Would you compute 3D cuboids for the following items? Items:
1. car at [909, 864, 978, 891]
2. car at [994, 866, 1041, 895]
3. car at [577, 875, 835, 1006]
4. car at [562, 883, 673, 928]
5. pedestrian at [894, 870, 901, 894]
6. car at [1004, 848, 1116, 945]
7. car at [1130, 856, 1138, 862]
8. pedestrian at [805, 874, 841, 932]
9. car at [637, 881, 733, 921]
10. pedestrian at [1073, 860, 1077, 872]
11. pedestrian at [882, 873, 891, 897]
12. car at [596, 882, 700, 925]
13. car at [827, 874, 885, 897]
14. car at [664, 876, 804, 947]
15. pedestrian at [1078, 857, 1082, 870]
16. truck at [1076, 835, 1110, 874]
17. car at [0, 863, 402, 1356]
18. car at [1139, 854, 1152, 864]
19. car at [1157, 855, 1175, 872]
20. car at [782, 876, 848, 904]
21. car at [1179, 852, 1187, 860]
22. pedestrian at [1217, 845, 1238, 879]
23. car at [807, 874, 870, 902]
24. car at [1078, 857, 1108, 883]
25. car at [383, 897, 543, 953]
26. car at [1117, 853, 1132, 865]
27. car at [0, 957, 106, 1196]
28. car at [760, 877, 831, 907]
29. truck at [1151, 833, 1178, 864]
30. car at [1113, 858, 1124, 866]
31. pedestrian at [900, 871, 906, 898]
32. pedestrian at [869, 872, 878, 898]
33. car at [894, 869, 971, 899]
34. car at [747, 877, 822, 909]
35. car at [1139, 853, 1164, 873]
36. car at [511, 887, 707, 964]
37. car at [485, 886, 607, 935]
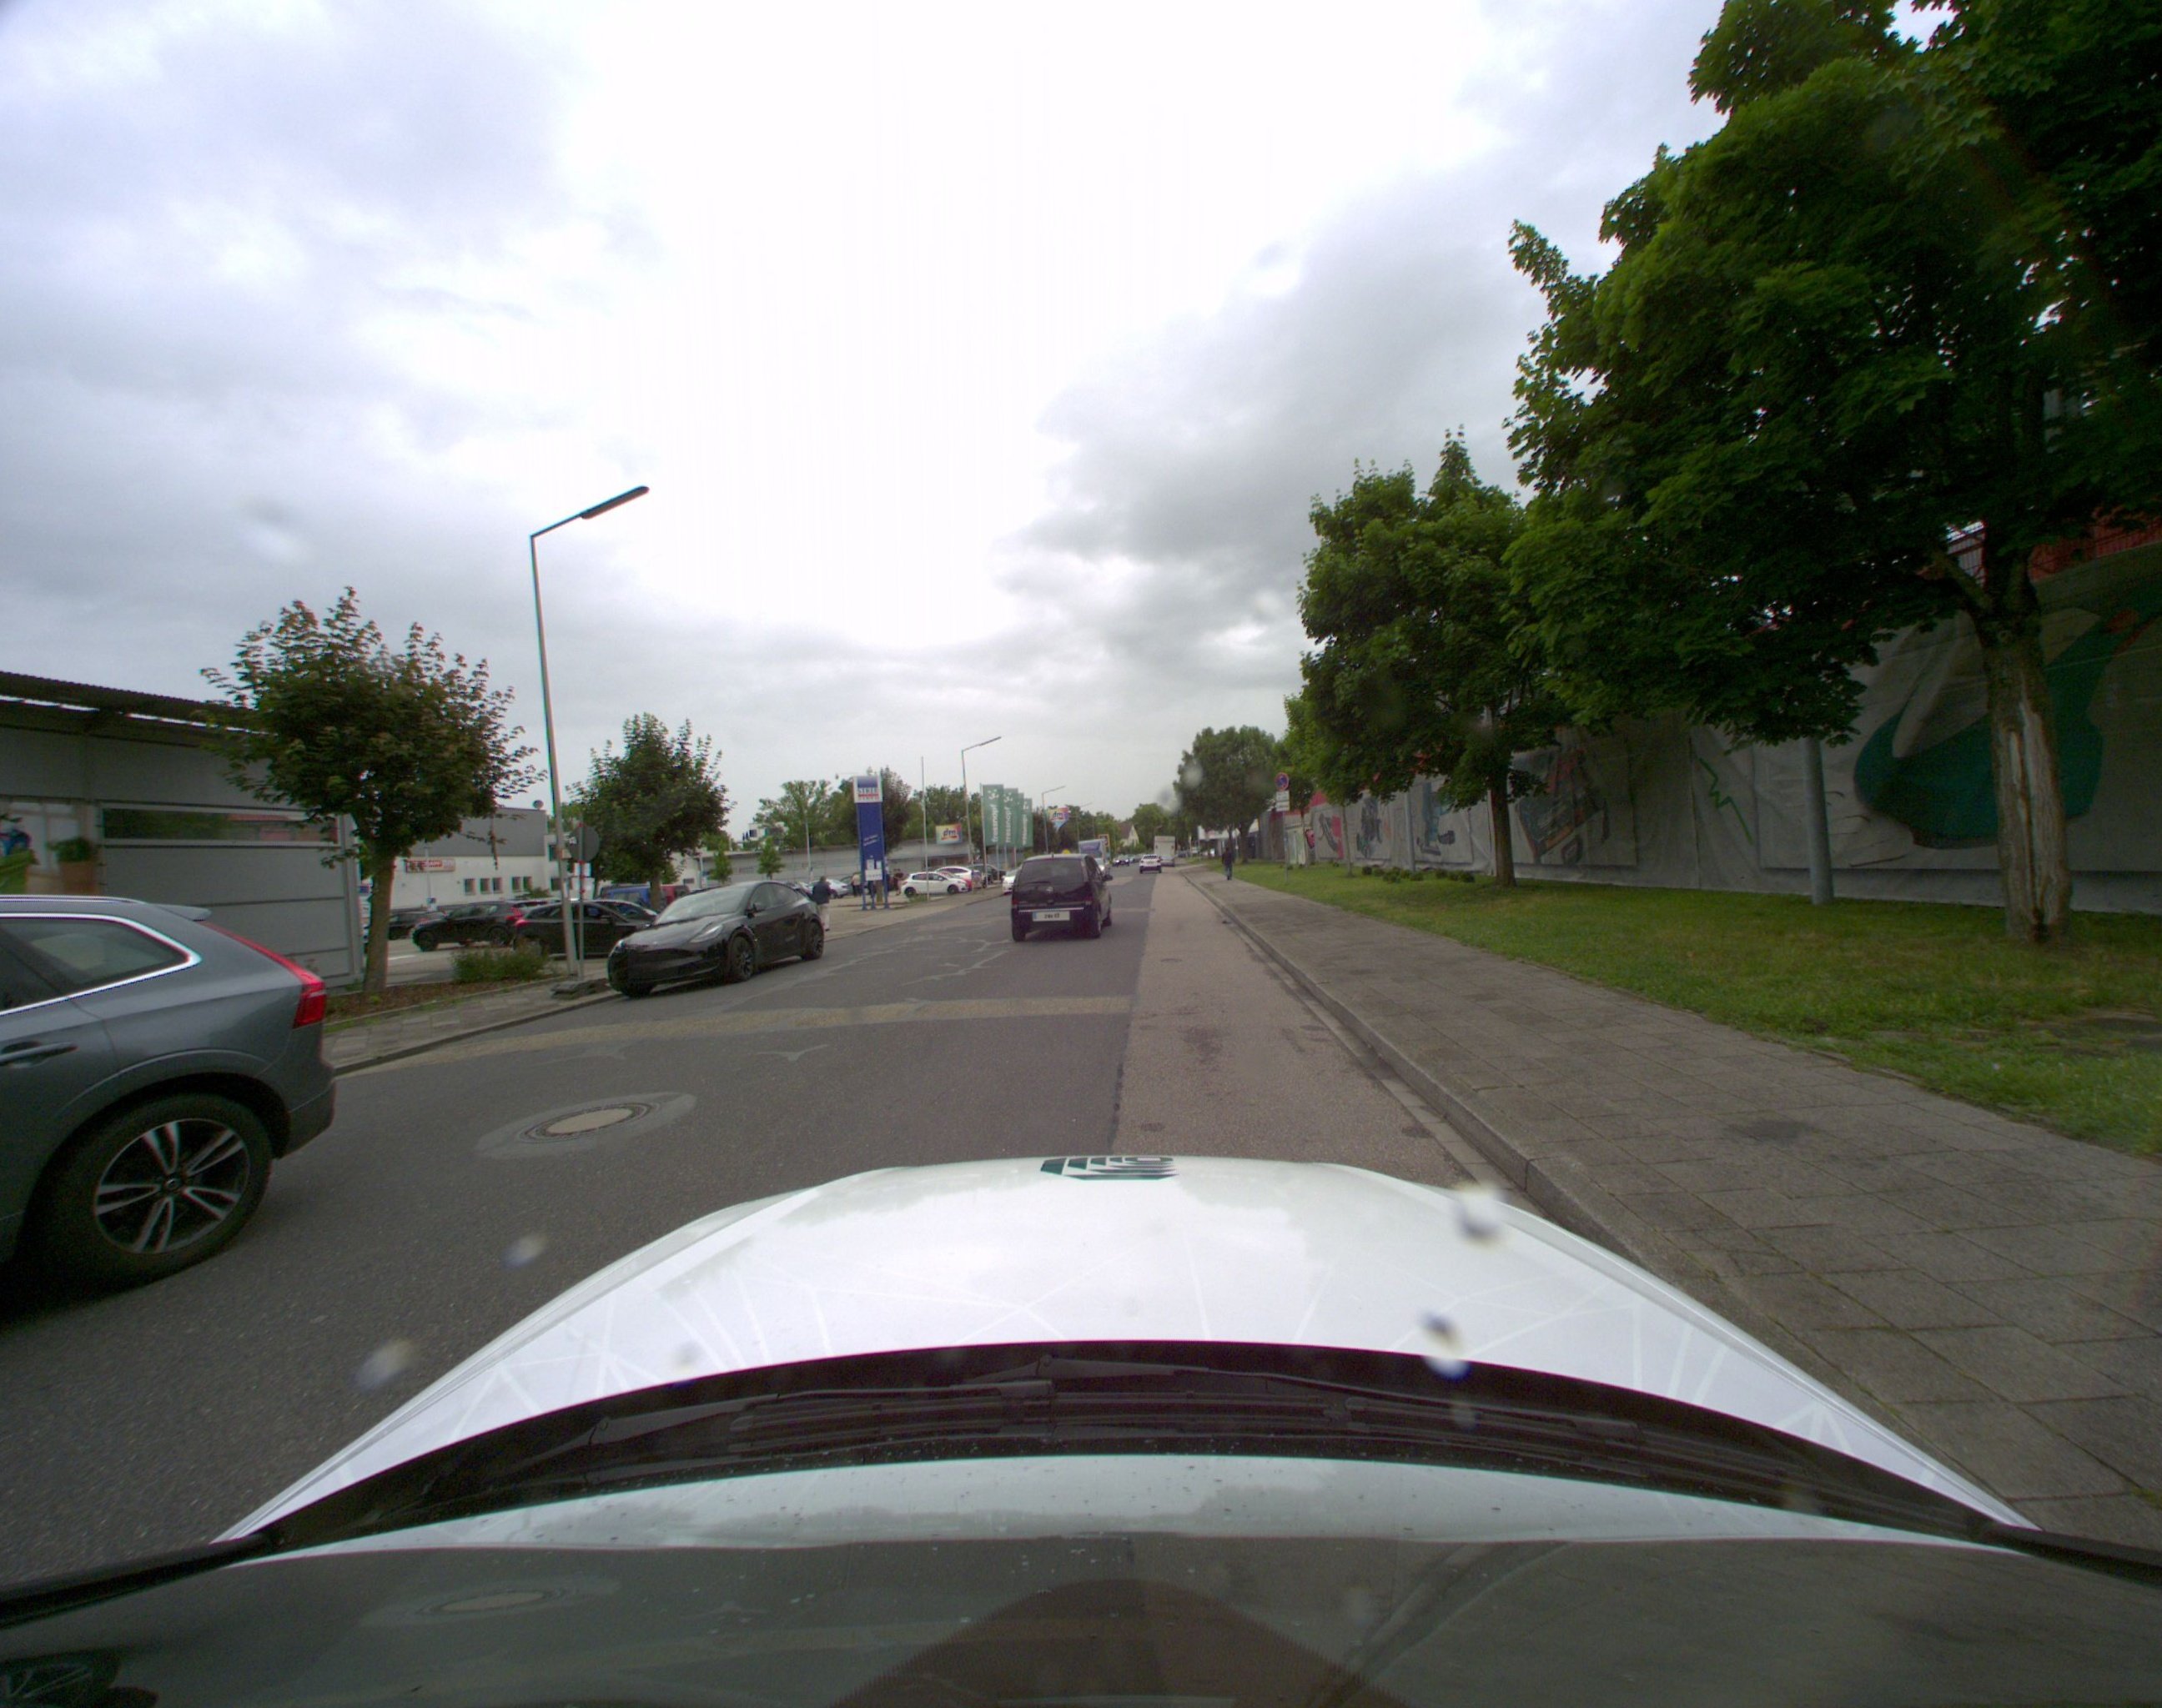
[{"bbox_3d":[-9.093,1.563,54.065,4.122,1.463,1.898,-4,-1,0],"label":"car"},{"bbox_3d":[-3.577,1.483,46.379,1.888,1.367,4.006,-5,0,6],"label":"car"},{"bbox_3d":[-6.073,1.311,13.932,1.938,1.526,4.407,-8,-1,4],"label":"car"},{"bbox_3d":[-21.286,2.371,37.513,3.967,1.669,1.879,-5,-1,5],"label":"car"},{"bbox_3d":[-12.378,1.903,54.797,0.329,1.570,0.503,-3,-1,-6],"label":"pedestrian"},{"bbox_3d":[-0.305,0.766,16.580,1.672,1.632,3.765,-4,0,6],"label":"car"},{"bbox_3d":[11.265,1.075,173.981,1.534,1.365,3.434,-3,-1,6],"label":"car"},{"bbox_3d":[-7.985,1.506,25.231,0.772,1.715,0.697,-3,-1,1],"label":"pedestrian"},{"bbox_3d":[-20.566,2.417,42.412,3.967,1.669,1.879,-5,-1,5],"label":"car"},{"bbox_3d":[-0.789,1.486,101.149,0.400,1.531,0.485,-4,-1,-1],"label":"pedestrian"},{"bbox_3d":[-13.068,2.055,54.732,0.358,1.570,0.503,-4,-1,-5],"label":"pedestrian"},{"bbox_3d":[-21.181,2.409,39.931,3.967,1.669,1.879,-5,-1,5],"label":"car"},{"bbox_3d":[-17.925,2.525,65.074,3.967,1.492,1.789,-4,-1,6],"label":"car"},{"bbox_3d":[-11.908,1.940,28.132,3.919,2.013,1.760,-5,-1,-2],"label":"car"},{"bbox_3d":[-0.149,1.180,100.653,0.400,1.531,0.485,-4,-1,-1],"label":"pedestrian"},{"bbox_3d":[1.429,0.078,92.072,2.959,3.955,6.415,-6,-1,6],"label":"truck"},{"bbox_3d":[-4.837,0.979,2.122,1.923,1.684,4.503,-5,-1,7],"label":"car"},{"bbox_3d":[9.962,0.765,125.388,1.928,1.367,4.006,-5,0,5],"label":"car"},{"bbox_3d":[10.055,1.116,96.386,1.984,1.806,4.005,-3,-1,4],"label":"car"},{"bbox_3d":[-19.157,2.572,58.768,3.967,1.669,1.879,-5,-1,5],"label":"car"},{"bbox_3d":[24.953,0.468,199.638,1.877,1.683,4.261,-2,0,6],"label":"car"},{"bbox_3d":[7.244,0.386,40.436,0.914,1.635,0.854,-3,-1,7],"label":"pedestrian"},{"bbox_3d":[-18.180,2.542,61.155,3.967,1.669,1.879,-5,-1,5],"label":"car"},{"bbox_3d":[0.845,1.083,56.036,1.591,1.528,3.534,-6,-1,6],"label":"car"},{"bbox_3d":[-21.704,2.462,28.789,3.997,1.485,1.865,-4,-1,-17],"label":"car"},{"bbox_3d":[6.422,0.727,120.602,1.984,1.684,4.005,-3,-1,4],"label":"car"},{"bbox_3d":[-7.485,1.478,3.116,1.691,1.367,4.524,-9,-1,5],"label":"car"},{"bbox_3d":[-19.225,2.543,54.998,3.967,1.669,1.879,-5,-1,5],"label":"car"},{"bbox_3d":[10.692,-0.630,105.421,3.120,3.585,10.062,-3,-1,4],"label":"truck"},{"bbox_3d":[6.446,1.377,140.630,1.616,1.375,3.457,-3,-1,5],"label":"car"},{"bbox_3d":[-11.890,2.024,54.344,0.262,1.730,0.421,-4,-1,-7],"label":"pedestrian"},{"bbox_3d":[-13.835,2.053,54.193,0.455,1.642,0.373,-4,-1,-12],"label":"pedestrian"},{"bbox_3d":[-8.926,1.779,49.168,4.193,1.463,1.951,-4,-1,-2],"label":"car"},{"bbox_3d":[-19.087,2.488,52.563,3.967,1.669,1.879,-5,-1,5],"label":"car"},{"bbox_3d":[5.832,0.708,67.052,1.877,1.531,4.261,-2,0,6],"label":"car"},{"bbox_3d":[-11.948,1.791,20.780,3.854,1.620,1.931,-3,0,5],"label":"car"},{"bbox_3d":[-22.785,2.403,34.769,3.967,1.669,1.879,-5,-1,5],"label":"car"}]
